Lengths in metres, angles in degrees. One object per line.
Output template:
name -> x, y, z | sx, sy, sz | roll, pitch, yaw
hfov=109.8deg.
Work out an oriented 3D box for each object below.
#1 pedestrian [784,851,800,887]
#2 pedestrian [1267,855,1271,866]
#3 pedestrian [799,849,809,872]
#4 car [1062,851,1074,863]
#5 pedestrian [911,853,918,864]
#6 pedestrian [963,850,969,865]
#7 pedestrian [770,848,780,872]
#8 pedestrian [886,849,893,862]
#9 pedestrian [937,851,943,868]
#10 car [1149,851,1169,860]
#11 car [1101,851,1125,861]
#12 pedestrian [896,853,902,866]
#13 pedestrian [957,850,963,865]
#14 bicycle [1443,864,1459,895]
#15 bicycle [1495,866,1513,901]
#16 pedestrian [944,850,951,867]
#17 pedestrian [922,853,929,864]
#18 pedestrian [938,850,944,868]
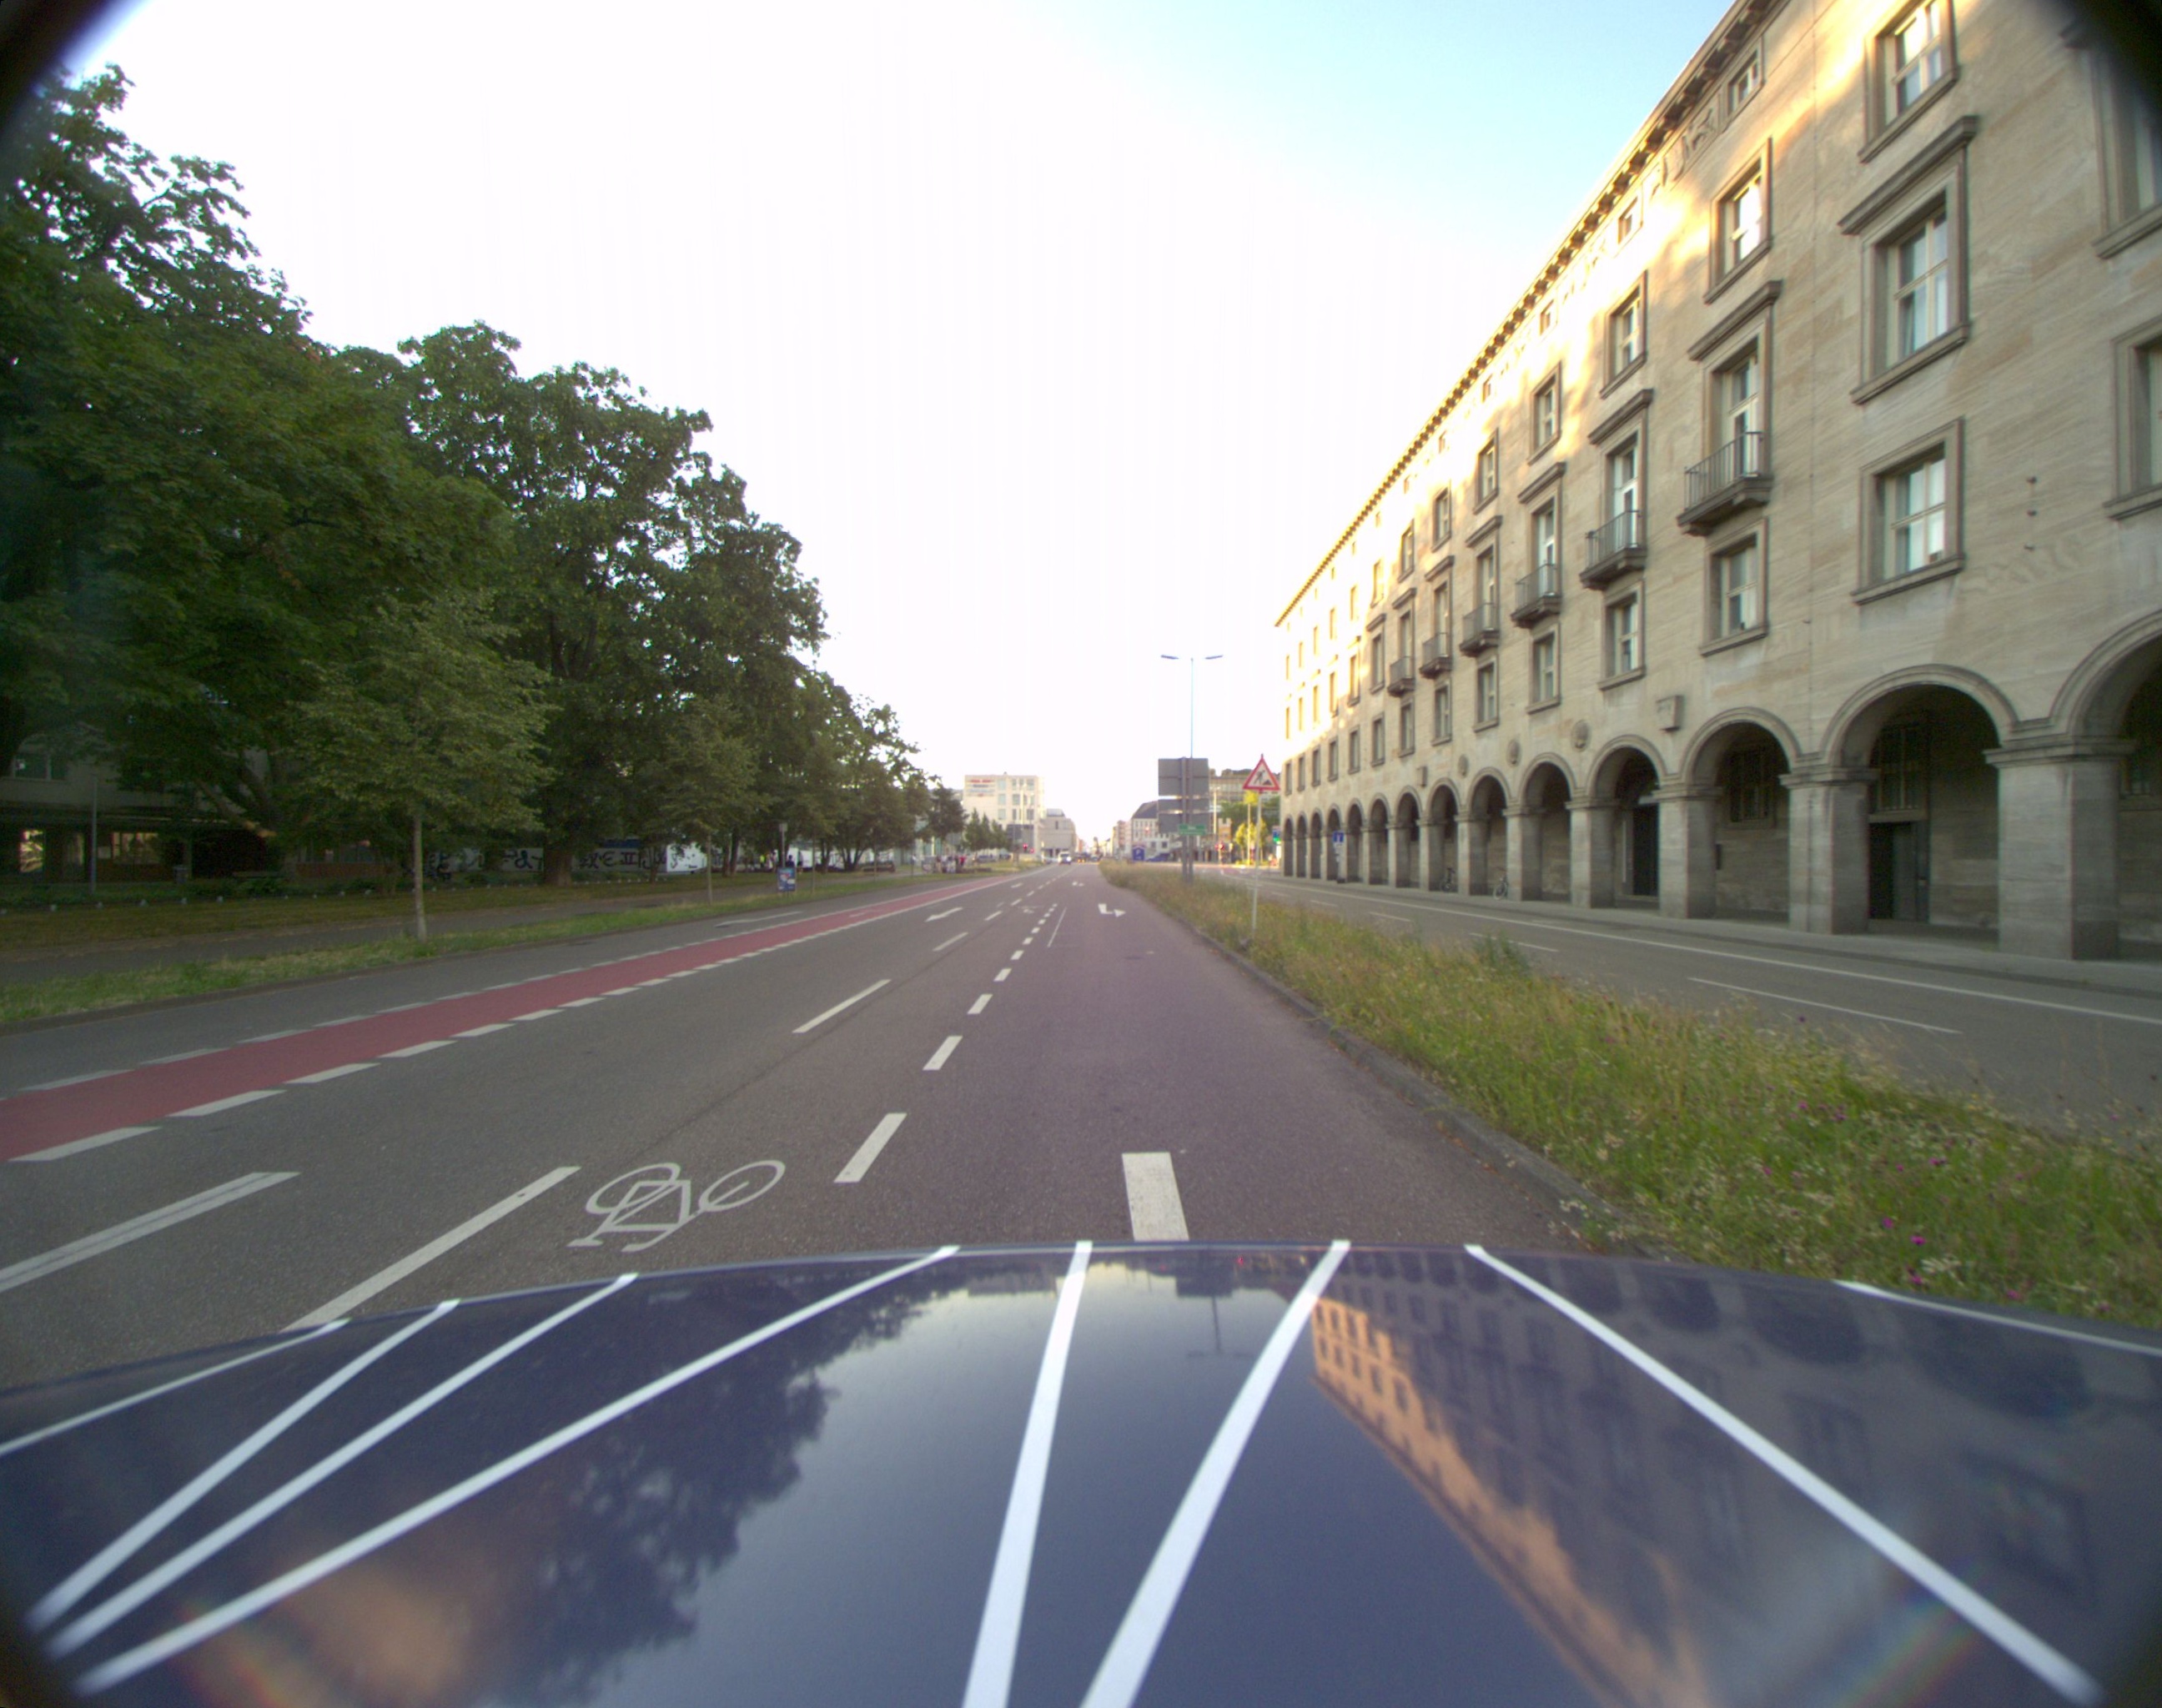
pedestrian -> -14.087, 0.723, 37.010 | 0.558, 1.729, 0.555 | 0, 1, 1
pedestrian -> 27.180, 0.942, 109.953 | 0.526, 1.532, 0.390 | 0, 1, 1
pedestrian -> -18.762, 0.439, 51.514 | 0.500, 1.592, 0.522 | 0, 1, 1
car -> -2.055, 0.458, 115.102 | 1.767, 1.877, 4.499 | 0, 0, -1
pedestrian -> -19.527, 0.511, 89.251 | 0.728, 1.347, 0.614 | 0, 1, 1
pedestrian -> -13.567, 0.386, 89.372 | 0.638, 1.747, 0.506 | 0, 1, 1
pedestrian -> -20.899, 0.408, 51.891 | 0.500, 1.592, 0.365 | 0, 1, 1
pedestrian -> -21.135, 0.161, 83.977 | 0.519, 1.347, 0.773 | 0, 1, 1
pedestrian -> -14.593, 0.554, 78.701 | 0.519, 1.720, 0.719 | 0, 1, 1
car -> 17.106, 0.338, 166.640 | 4.437, 2.002, 2.000 | 0, 0, 3
car -> 5.725, 0.406, 135.756 | 4.000, 1.797, 1.998 | 0, 0, -8
pedestrian -> -20.153, 0.614, 84.036 | 0.519, 1.347, 0.773 | 0, 1, 1
pedestrian -> -14.330, 0.425, 89.801 | 0.638, 1.747, 0.506 | 0, 1, 1
bicycle -> 15.014, 1.025, 30.865 | 0.513, 1.172, 2.427 | 0, 0, 25
bicycle -> 15.441, 1.049, 27.719 | 0.513, 1.115, 2.427 | 0, 1, 30
pedestrian -> -13.821, 0.478, 78.720 | 0.509, 1.720, 0.719 | 0, 1, 1
pedestrian -> -18.218, 0.525, 88.870 | 0.662, 1.347, 0.559 | 0, 1, 1
pedestrian -> -13.903, 0.480, 75.522 | 0.509, 1.720, 0.719 | 0, 1, 1
